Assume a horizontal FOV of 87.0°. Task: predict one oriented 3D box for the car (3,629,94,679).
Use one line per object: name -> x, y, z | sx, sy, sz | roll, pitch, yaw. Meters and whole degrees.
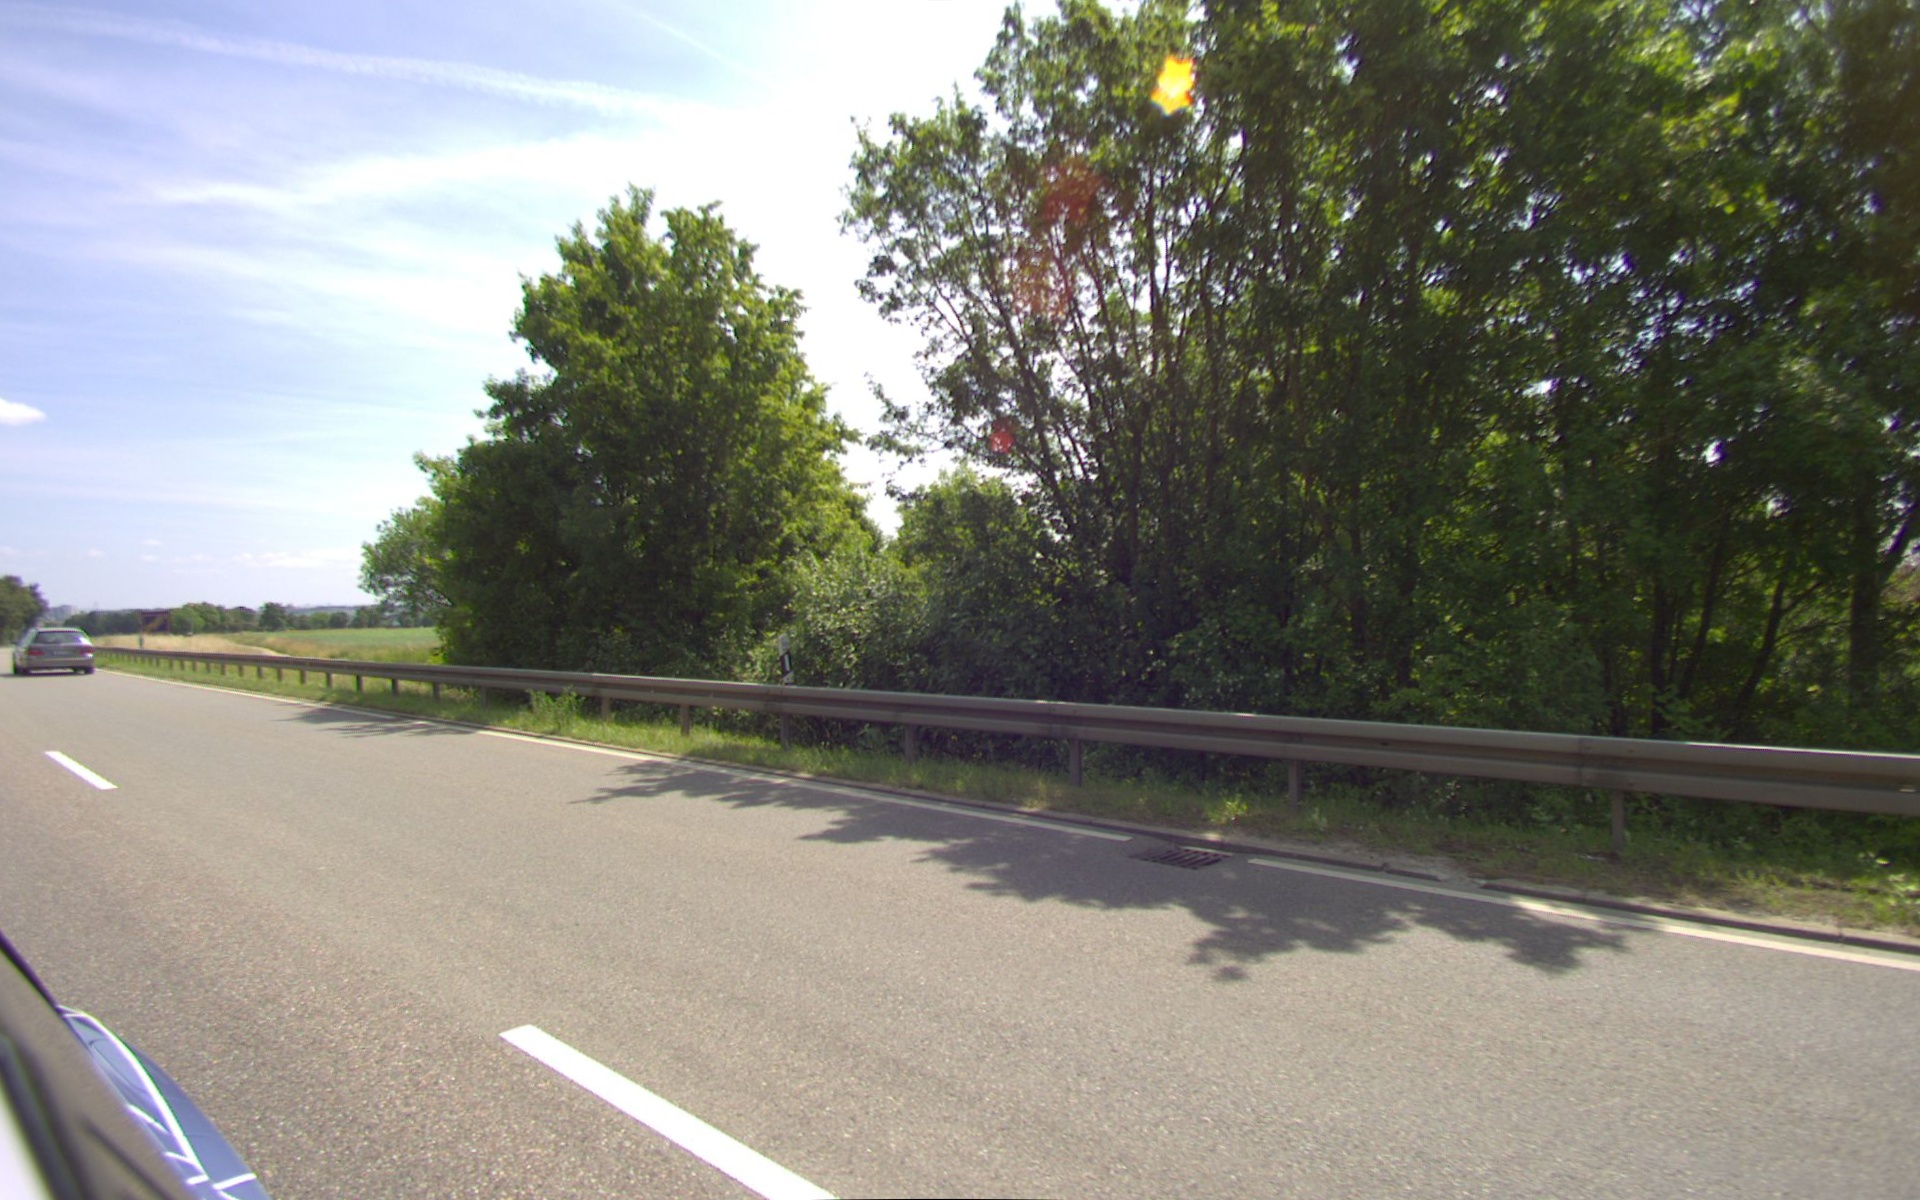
car -> -29.473, 1.691, 32.673 | 5.127, 1.478, 1.725 | -2, -2, 43
